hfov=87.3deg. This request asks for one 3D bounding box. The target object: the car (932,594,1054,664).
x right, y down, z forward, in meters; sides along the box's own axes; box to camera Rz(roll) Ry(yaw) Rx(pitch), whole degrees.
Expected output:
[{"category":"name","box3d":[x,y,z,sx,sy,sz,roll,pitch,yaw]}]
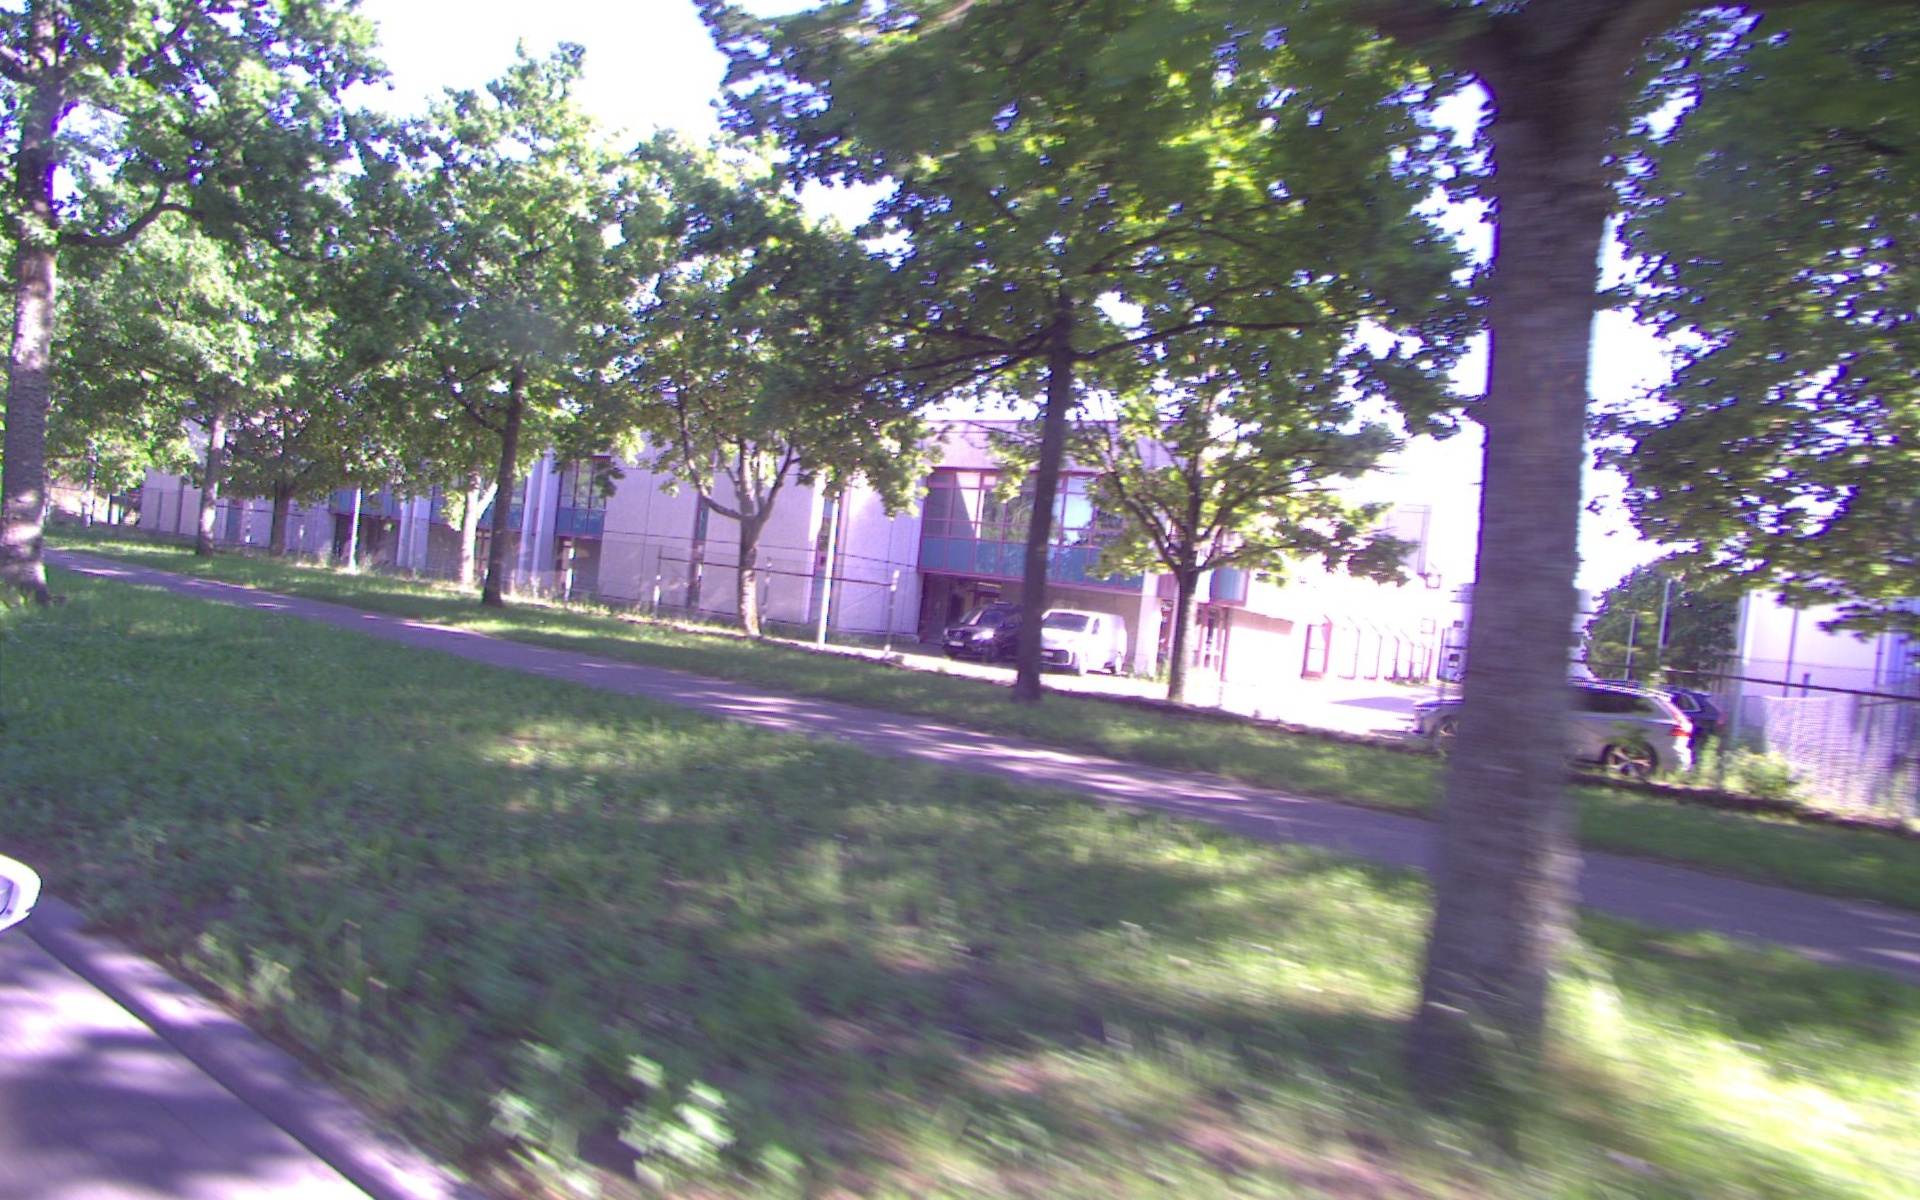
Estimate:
[{"category":"car","box3d":[1.175,1.000,32.857,1.965,1.907,4.958,7,0,26]}]

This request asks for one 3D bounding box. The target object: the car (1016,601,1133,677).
[{"category":"car","box3d":[3.670,1.221,31.306,1.861,1.984,5.072,7,1,26]}]

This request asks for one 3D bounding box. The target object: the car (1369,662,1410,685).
[{"category":"car","box3d":[49.434,8.441,115.839,3.936,2.037,1.996,6,-2,34]}]

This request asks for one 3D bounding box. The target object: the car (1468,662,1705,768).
[{"category":"car","box3d":[14.428,2.596,23.484,4.380,1.694,1.997,7,0,29]}]

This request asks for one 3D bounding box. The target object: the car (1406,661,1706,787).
[{"category":"car","box3d":[11.324,2.286,19.483,4.636,1.626,1.997,6,0,30]}]

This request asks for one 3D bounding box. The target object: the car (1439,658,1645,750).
[{"category":"car","box3d":[15.038,2.680,26.326,4.377,1.692,2.000,6,-2,26]}]

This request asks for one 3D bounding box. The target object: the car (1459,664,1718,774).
[{"category":"car","box3d":[13.263,2.451,21.563,4.380,1.578,1.997,7,0,29]}]
